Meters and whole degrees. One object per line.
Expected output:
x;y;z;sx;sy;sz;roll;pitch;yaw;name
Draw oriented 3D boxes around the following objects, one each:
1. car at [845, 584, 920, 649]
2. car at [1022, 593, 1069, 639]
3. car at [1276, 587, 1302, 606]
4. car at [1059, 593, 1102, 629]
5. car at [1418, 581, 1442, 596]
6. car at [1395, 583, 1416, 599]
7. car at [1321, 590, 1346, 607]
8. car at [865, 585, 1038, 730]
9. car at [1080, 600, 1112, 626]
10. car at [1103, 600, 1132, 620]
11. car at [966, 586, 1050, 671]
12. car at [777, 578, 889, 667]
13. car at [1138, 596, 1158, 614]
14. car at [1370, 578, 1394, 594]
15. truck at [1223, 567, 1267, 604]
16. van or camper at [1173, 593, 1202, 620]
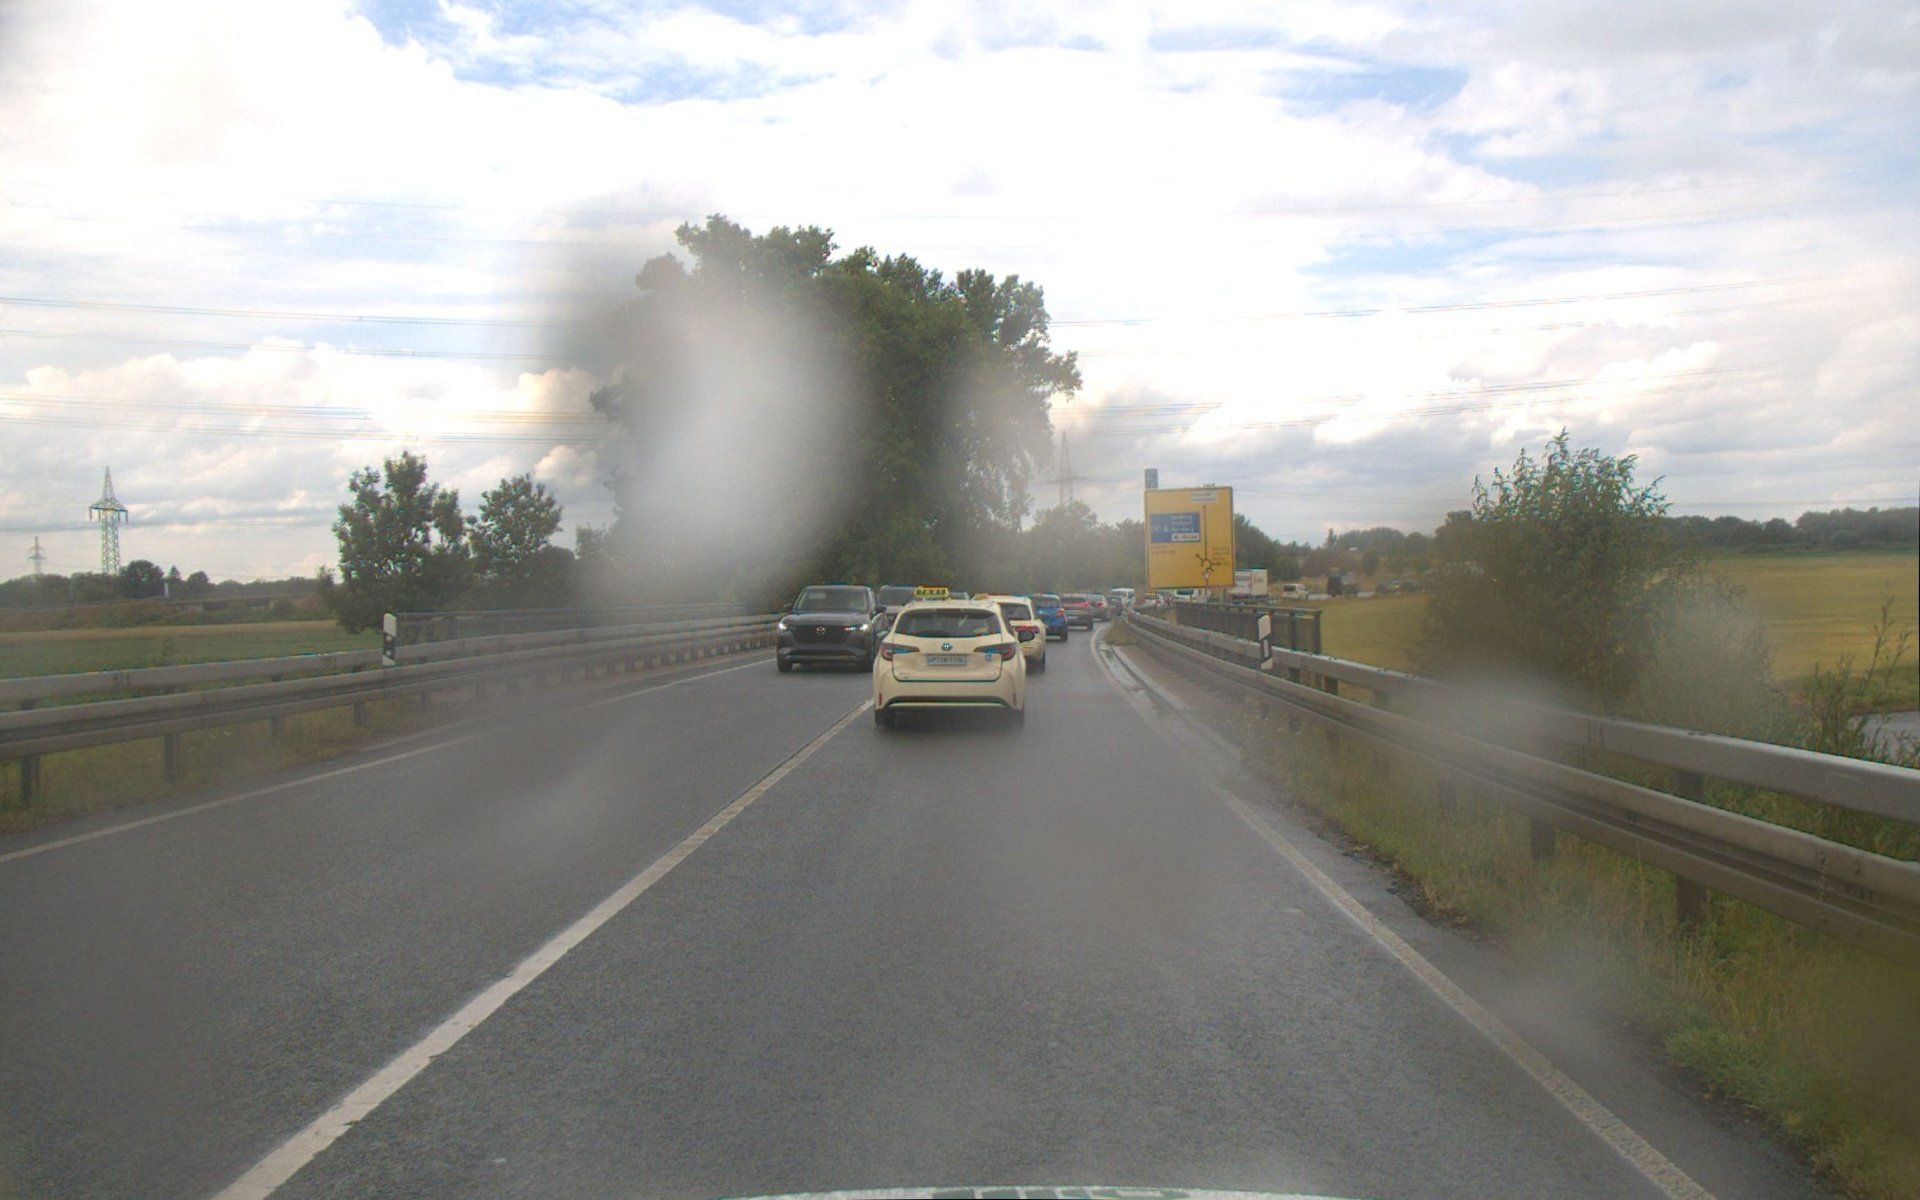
-2.191;0.437;48.070;1.803;1.730;4.390;1;1;2;car
2.821;0.515;54.534;1.474;1.462;3.357;1;0;3;car
37.720;-0.382;189.726;2.123;2.049;3.998;0;-1;24;car
5.101;0.454;69.856;1.630;1.489;3.479;0;0;7;car
67.109;-1.649;235.975;1.961;2.049;3.983;0;-1;37;car
61.654;-1.245;228.769;1.955;2.049;3.994;0;-1;28;car
46.382;-0.137;205.176;1.956;2.049;3.993;0;-1;29;car
-0.029;0.627;20.039;1.866;1.564;4.162;0;0;2;car
7.805;0.754;94.755;1.625;1.434;3.907;0;-1;7;car
10.389;0.658;108.994;1.451;1.332;3.479;0;0;13;car
1.011;0.541;33.320;1.545;1.600;3.683;0;0;4;car
-2.515;0.395;33.667;1.709;1.682;4.526;0;1;3;car
14.363;0.362;126.237;1.451;1.332;3.479;0;0;9;car
56.197;-1.828;220.179;2.183;2.049;3.994;0;-1;28;car
29.348;-1.439;169.994;3.075;3.624;7.521;0;-1;21;truck
19.674;0.575;143.095;1.951;2.293;4.002;0;-1;15;van or camper
